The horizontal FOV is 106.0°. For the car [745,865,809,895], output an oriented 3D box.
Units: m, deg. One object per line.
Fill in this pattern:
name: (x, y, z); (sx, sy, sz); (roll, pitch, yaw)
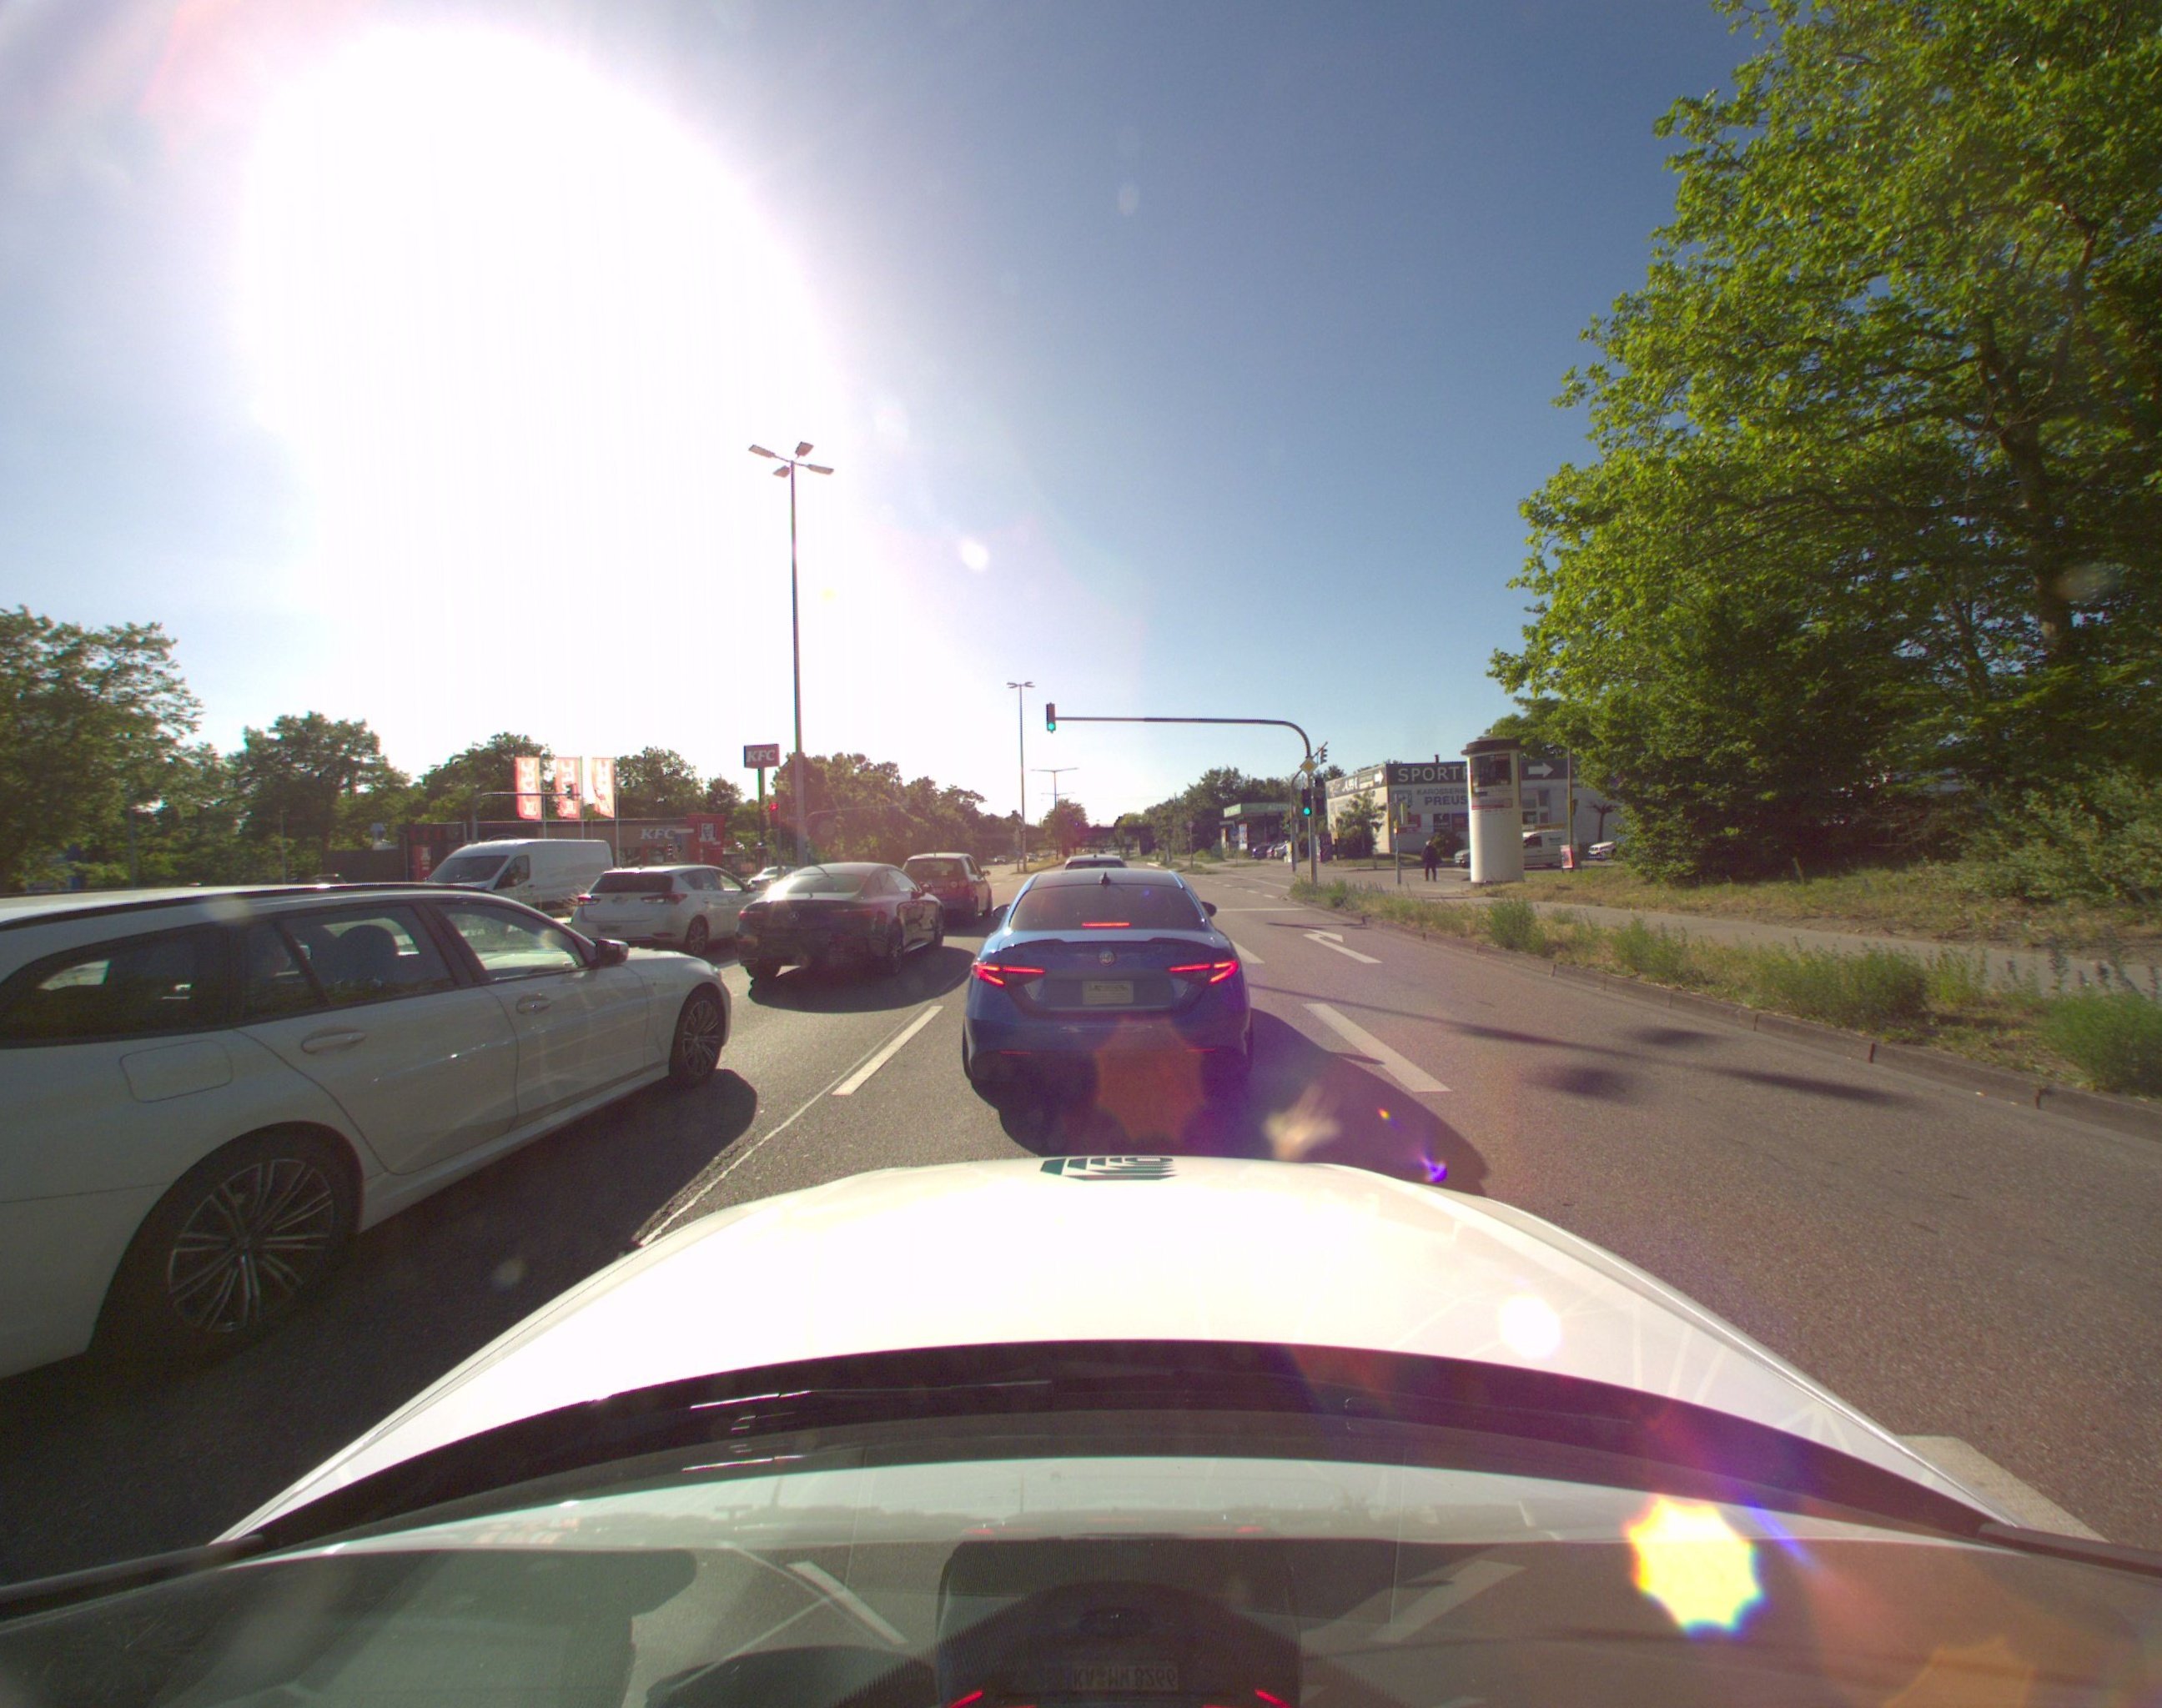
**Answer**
car: (-17.681, 1.458, 47.590); (1.752, 1.490, 4.480); (-5, 0, 2)

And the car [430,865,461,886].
car: (-47.638, 1.572, 60.994); (1.670, 1.471, 3.872); (0, -1, -40)

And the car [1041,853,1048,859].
car: (-9.386, 0.478, 210.471); (1.609, 1.559, 3.359); (0, -1, 2)

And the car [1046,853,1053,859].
car: (-8.857, 0.446, 227.492); (1.603, 1.647, 3.464); (0, -1, 2)

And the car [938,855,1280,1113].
car: (0.187, 0.737, 6.731); (1.889, 1.418, 4.403); (0, -1, 1)

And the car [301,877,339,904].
car: (-52.371, 2.471, 56.100); (1.670, 1.673, 3.897); (0, -1, -40)

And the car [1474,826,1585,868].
car: (21.635, -0.338, 39.382); (4.367, 1.801, 1.765); (-3, 1, 0)

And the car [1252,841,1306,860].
car: (17.945, -0.343, 73.909); (4.470, 1.454, 1.860); (-4, 0, 3)

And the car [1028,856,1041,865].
car: (-8.251, 1.175, 144.351); (1.752, 1.490, 3.839); (-3, 0, 2)

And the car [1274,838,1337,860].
car: (17.703, -0.414, 64.326); (4.470, 1.454, 1.860); (-4, 0, 3)

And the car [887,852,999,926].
car: (-3.041, 0.724, 18.809); (1.753, 1.490, 4.403); (0, -1, 1)

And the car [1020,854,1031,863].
car: (-11.936, 0.998, 174.305); (1.986, 2.014, 4.001); (0, -1, 2)

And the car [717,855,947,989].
car: (-3.180, 0.786, 11.424); (1.790, 1.490, 4.476); (0, -1, 1)

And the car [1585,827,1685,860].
car: (29.053, -0.534, 42.782); (4.028, 1.490, 1.782); (-3, 0, -1)

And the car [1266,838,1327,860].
car: (17.709, -0.401, 67.106); (4.470, 1.454, 1.860); (-4, 0, 3)

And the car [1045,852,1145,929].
car: (0.296, 0.695, 17.385); (1.844, 1.418, 4.403); (0, -1, 1)

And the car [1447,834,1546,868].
car: (21.766, -0.191, 42.717); (4.273, 1.549, 1.765); (-3, 1, 0)

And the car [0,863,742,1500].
car: (-3.420, 0.803, 3.786); (1.779, 1.490, 4.403); (0, -1, 1)

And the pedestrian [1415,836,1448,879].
pedestrian: (14.256, 0.153, 33.160); (0.922, 1.735, 0.939); (0, -1, 1)

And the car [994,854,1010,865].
car: (-12.449, 0.839, 128.511); (1.752, 1.490, 4.480); (-3, 0, 2)

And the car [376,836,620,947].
car: (-15.348, 0.895, 22.028); (2.014, 2.447, 5.826); (-5, 0, 3)

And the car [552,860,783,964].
car: (-6.763, 0.854, 13.913); (1.753, 1.490, 4.197); (0, -1, 1)

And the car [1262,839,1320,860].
car: (17.986, -0.372, 69.855); (4.470, 1.454, 1.860); (-4, 0, 3)

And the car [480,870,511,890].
car: (-45.638, 2.033, 63.411); (1.670, 1.471, 3.872); (0, -1, -40)

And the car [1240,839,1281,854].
car: (21.389, -0.866, 97.018); (4.532, 1.490, 1.766); (-4, 0, 3)
